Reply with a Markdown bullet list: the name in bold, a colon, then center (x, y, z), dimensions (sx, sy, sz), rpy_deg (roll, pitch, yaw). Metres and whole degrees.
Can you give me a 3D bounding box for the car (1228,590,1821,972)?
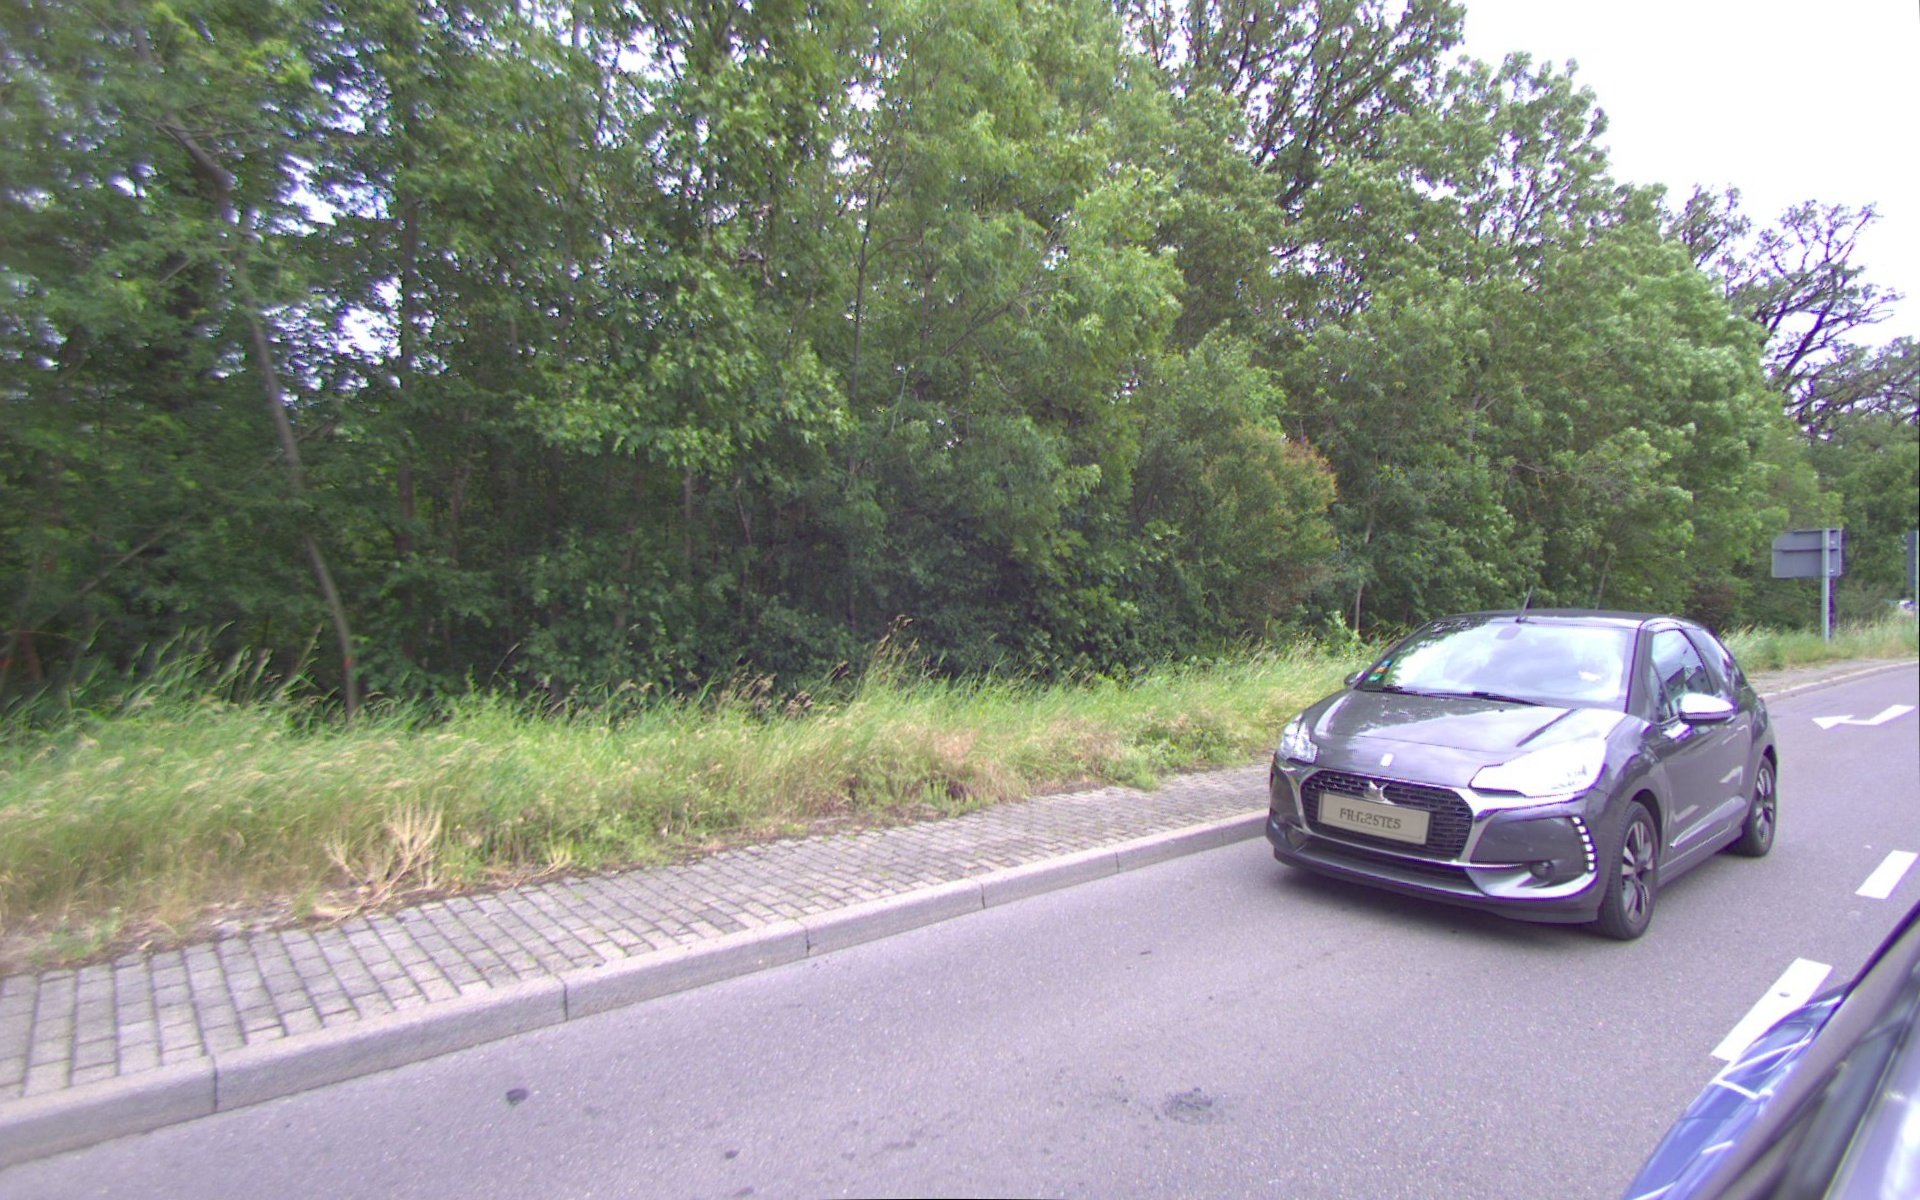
- **car**: center (3.394, 0.692, 5.801), dimensions (3.786, 1.476, 1.729), rpy_deg (0, 0, -40)
